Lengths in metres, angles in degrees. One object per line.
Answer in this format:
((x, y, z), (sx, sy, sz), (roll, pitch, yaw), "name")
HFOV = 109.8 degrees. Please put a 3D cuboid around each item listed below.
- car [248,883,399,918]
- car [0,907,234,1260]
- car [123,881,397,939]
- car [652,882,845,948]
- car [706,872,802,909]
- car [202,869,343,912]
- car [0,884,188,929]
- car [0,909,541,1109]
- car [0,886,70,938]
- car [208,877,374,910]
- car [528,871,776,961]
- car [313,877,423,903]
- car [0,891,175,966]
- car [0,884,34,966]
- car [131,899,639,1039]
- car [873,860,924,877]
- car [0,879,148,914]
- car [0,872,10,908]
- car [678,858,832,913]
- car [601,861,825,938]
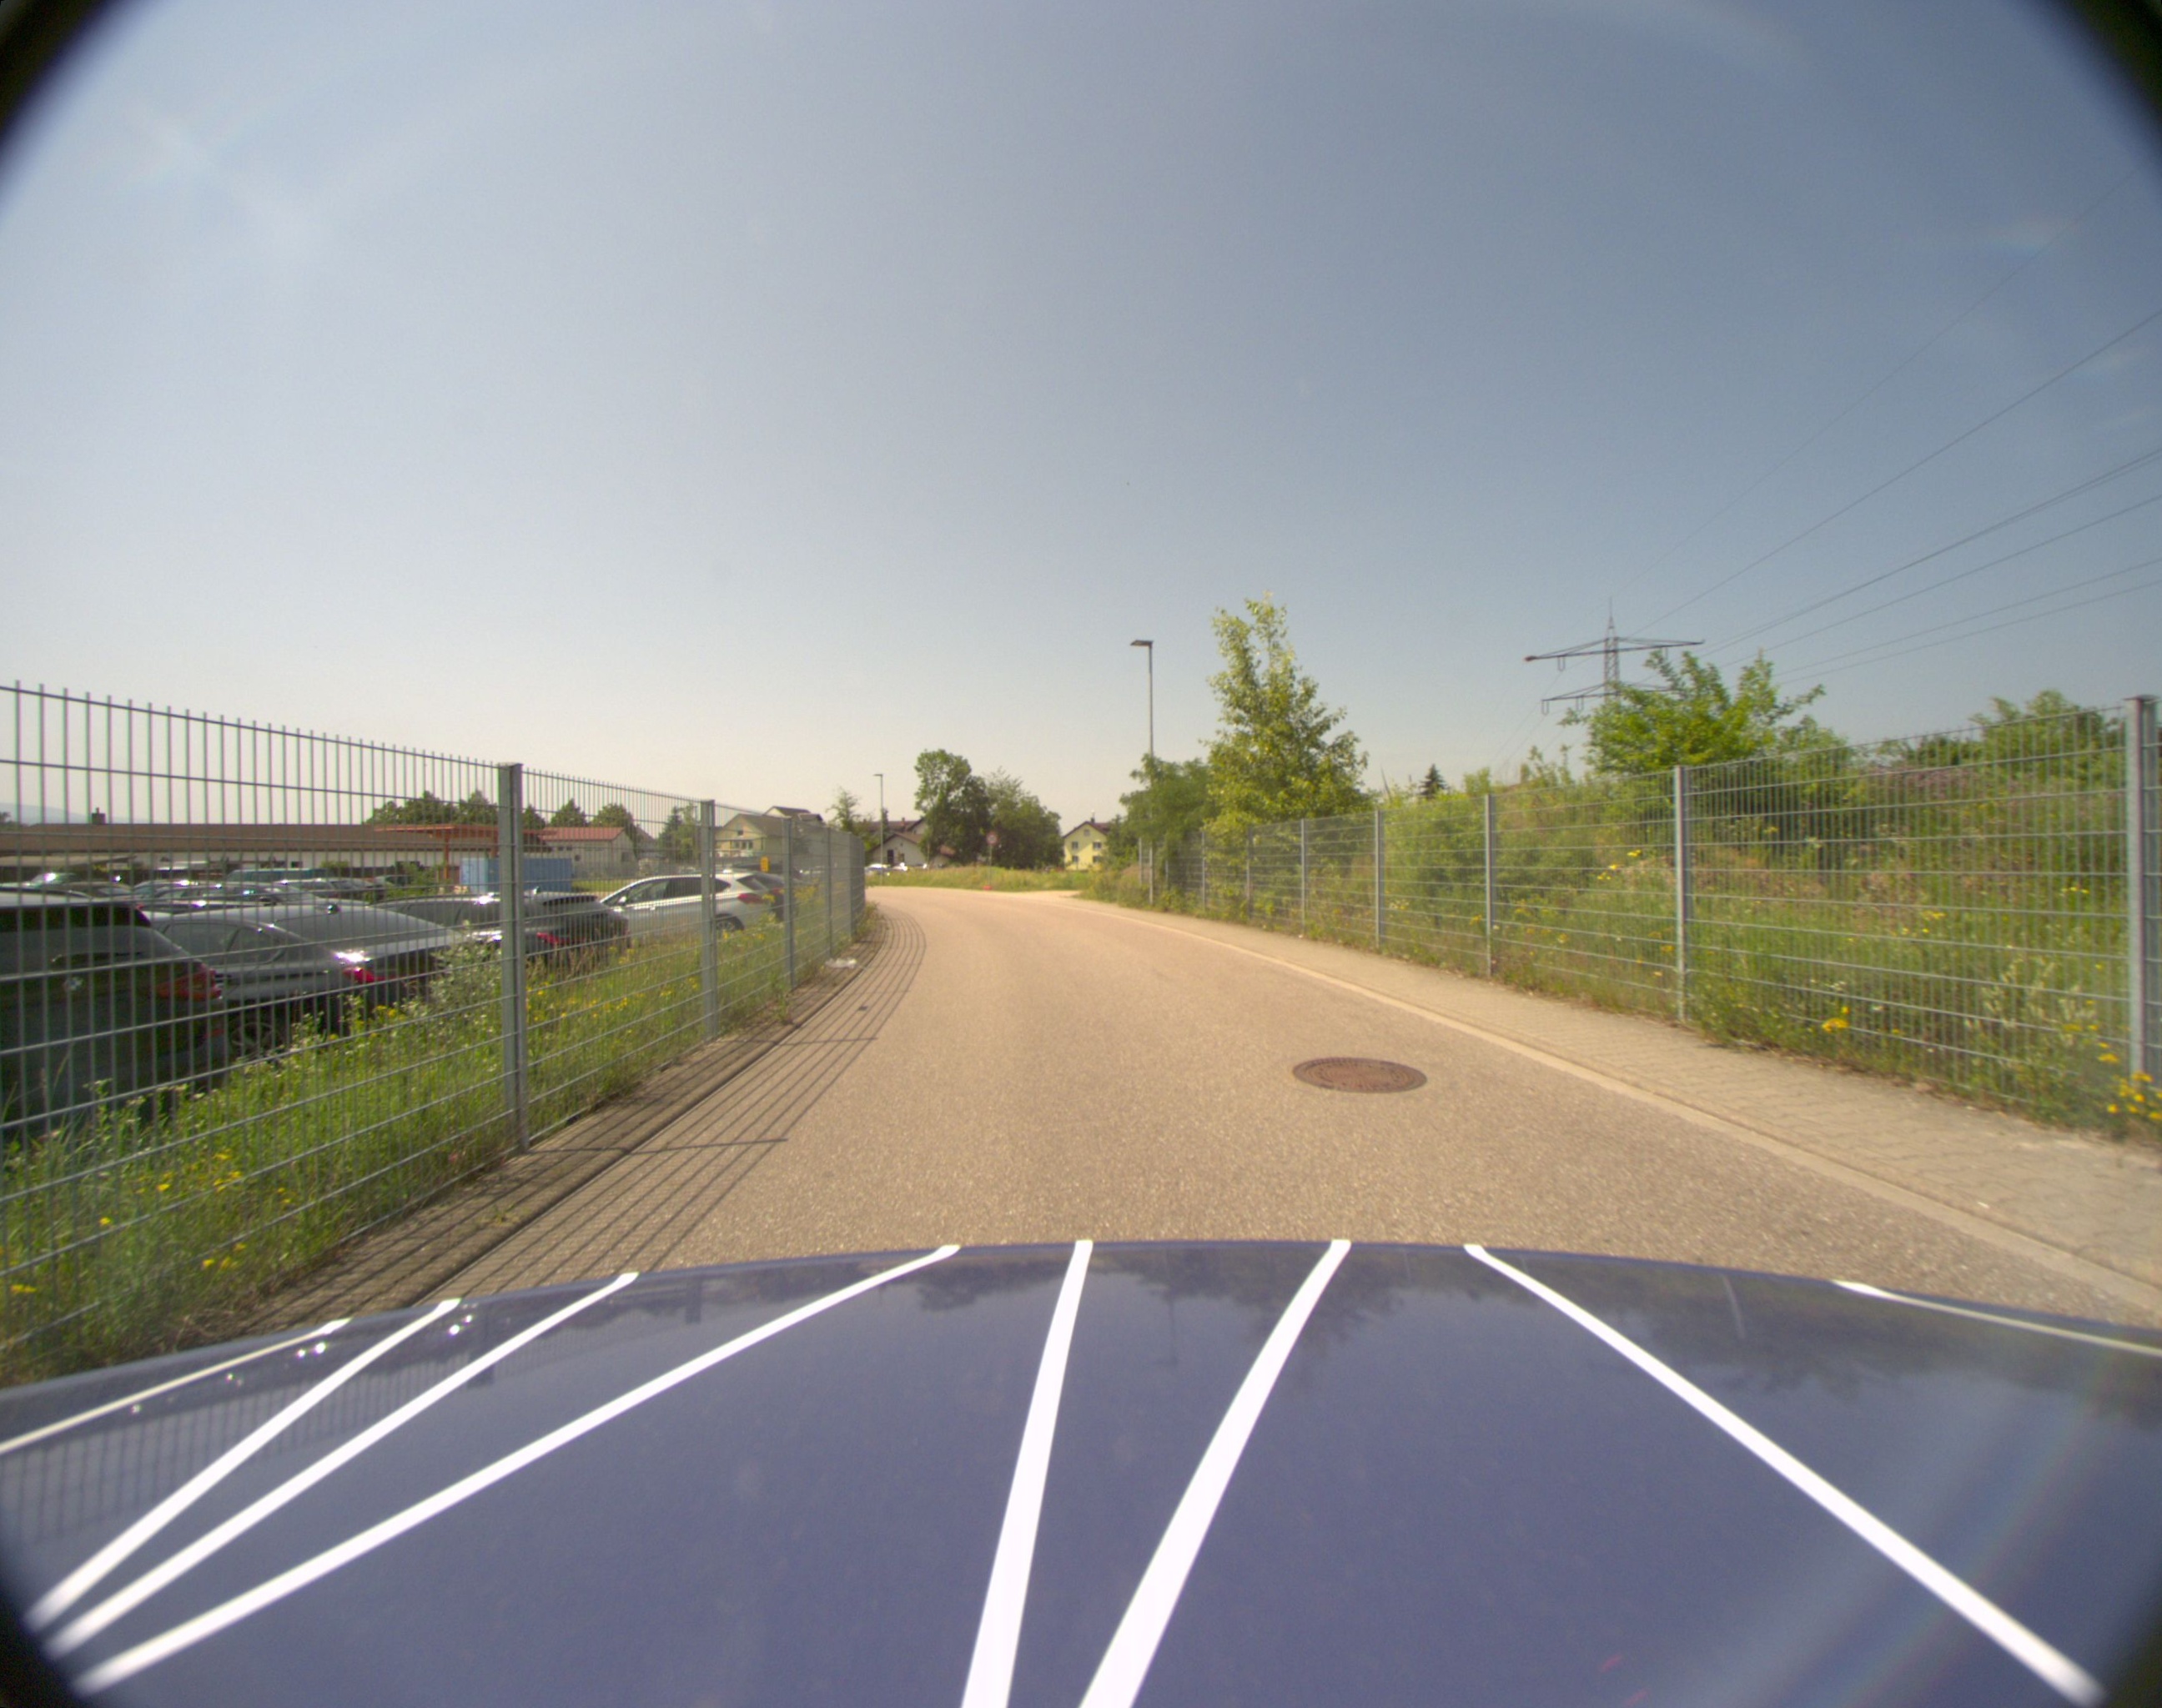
((-33.114, 2.011, 33.345), (4.391, 1.337, 1.840), (0, -1, -12), "car")
((-7.290, 1.137, 3.761), (4.291, 1.627, 1.765), (0, 0, 2), "car")
((-21.617, 1.432, 20.238), (4.761, 1.344, 1.819), (0, -1, -12), "car")
((-8.789, 1.582, 20.484), (4.485, 1.573, 1.794), (0, -1, -13), "car")
((-13.324, 1.453, 31.009), (3.482, 1.409, 1.513), (0, -1, -28), "car")
((-38.943, 1.717, 36.714), (4.391, 1.970, 1.840), (0, 0, -12), "car")
((-29.460, 1.512, 22.139), (4.391, 1.176, 1.575), (0, -1, -12), "car")
((-7.466, 1.233, 6.587), (4.291, 1.370, 1.765), (0, -1, 0), "car")
((-28.955, 1.473, 18.939), (4.391, 1.262, 1.819), (0, -1, -12), "car")
((-31.973, 1.572, 30.899), (4.391, 1.198, 1.840), (0, -1, -12), "car")
((-8.684, 1.210, 15.763), (4.137, 1.660, 1.721), (0, 0, -14), "car")
((-33.541, 1.666, 35.826), (3.376, 1.102, 1.670), (0, -1, -12), "car")
((-21.846, 1.475, 15.127), (4.761, 1.344, 1.819), (0, -1, -12), "car")
((-21.192, 1.267, 12.576), (4.577, 1.424, 1.661), (0, -1, -12), "car")
((-8.122, 1.301, 9.274), (4.353, 1.370, 1.764), (0, -1, -6), "car")
((-14.947, 1.176, 62.107), (4.391, 1.326, 1.585), (-1, 0, 38), "car")
((-43.933, 1.819, 32.827), (4.391, 1.369, 1.840), (0, -1, -12), "car")
((-43.617, 1.398, 28.194), (4.391, 1.369, 1.840), (0, -1, -12), "car")
((-11.122, 1.023, 26.077), (4.707, 1.758, 1.739), (0, -1, -26), "car")
((-8.551, 1.017, 18.030), (4.484, 1.660, 1.722), (0, 0, -10), "car")
